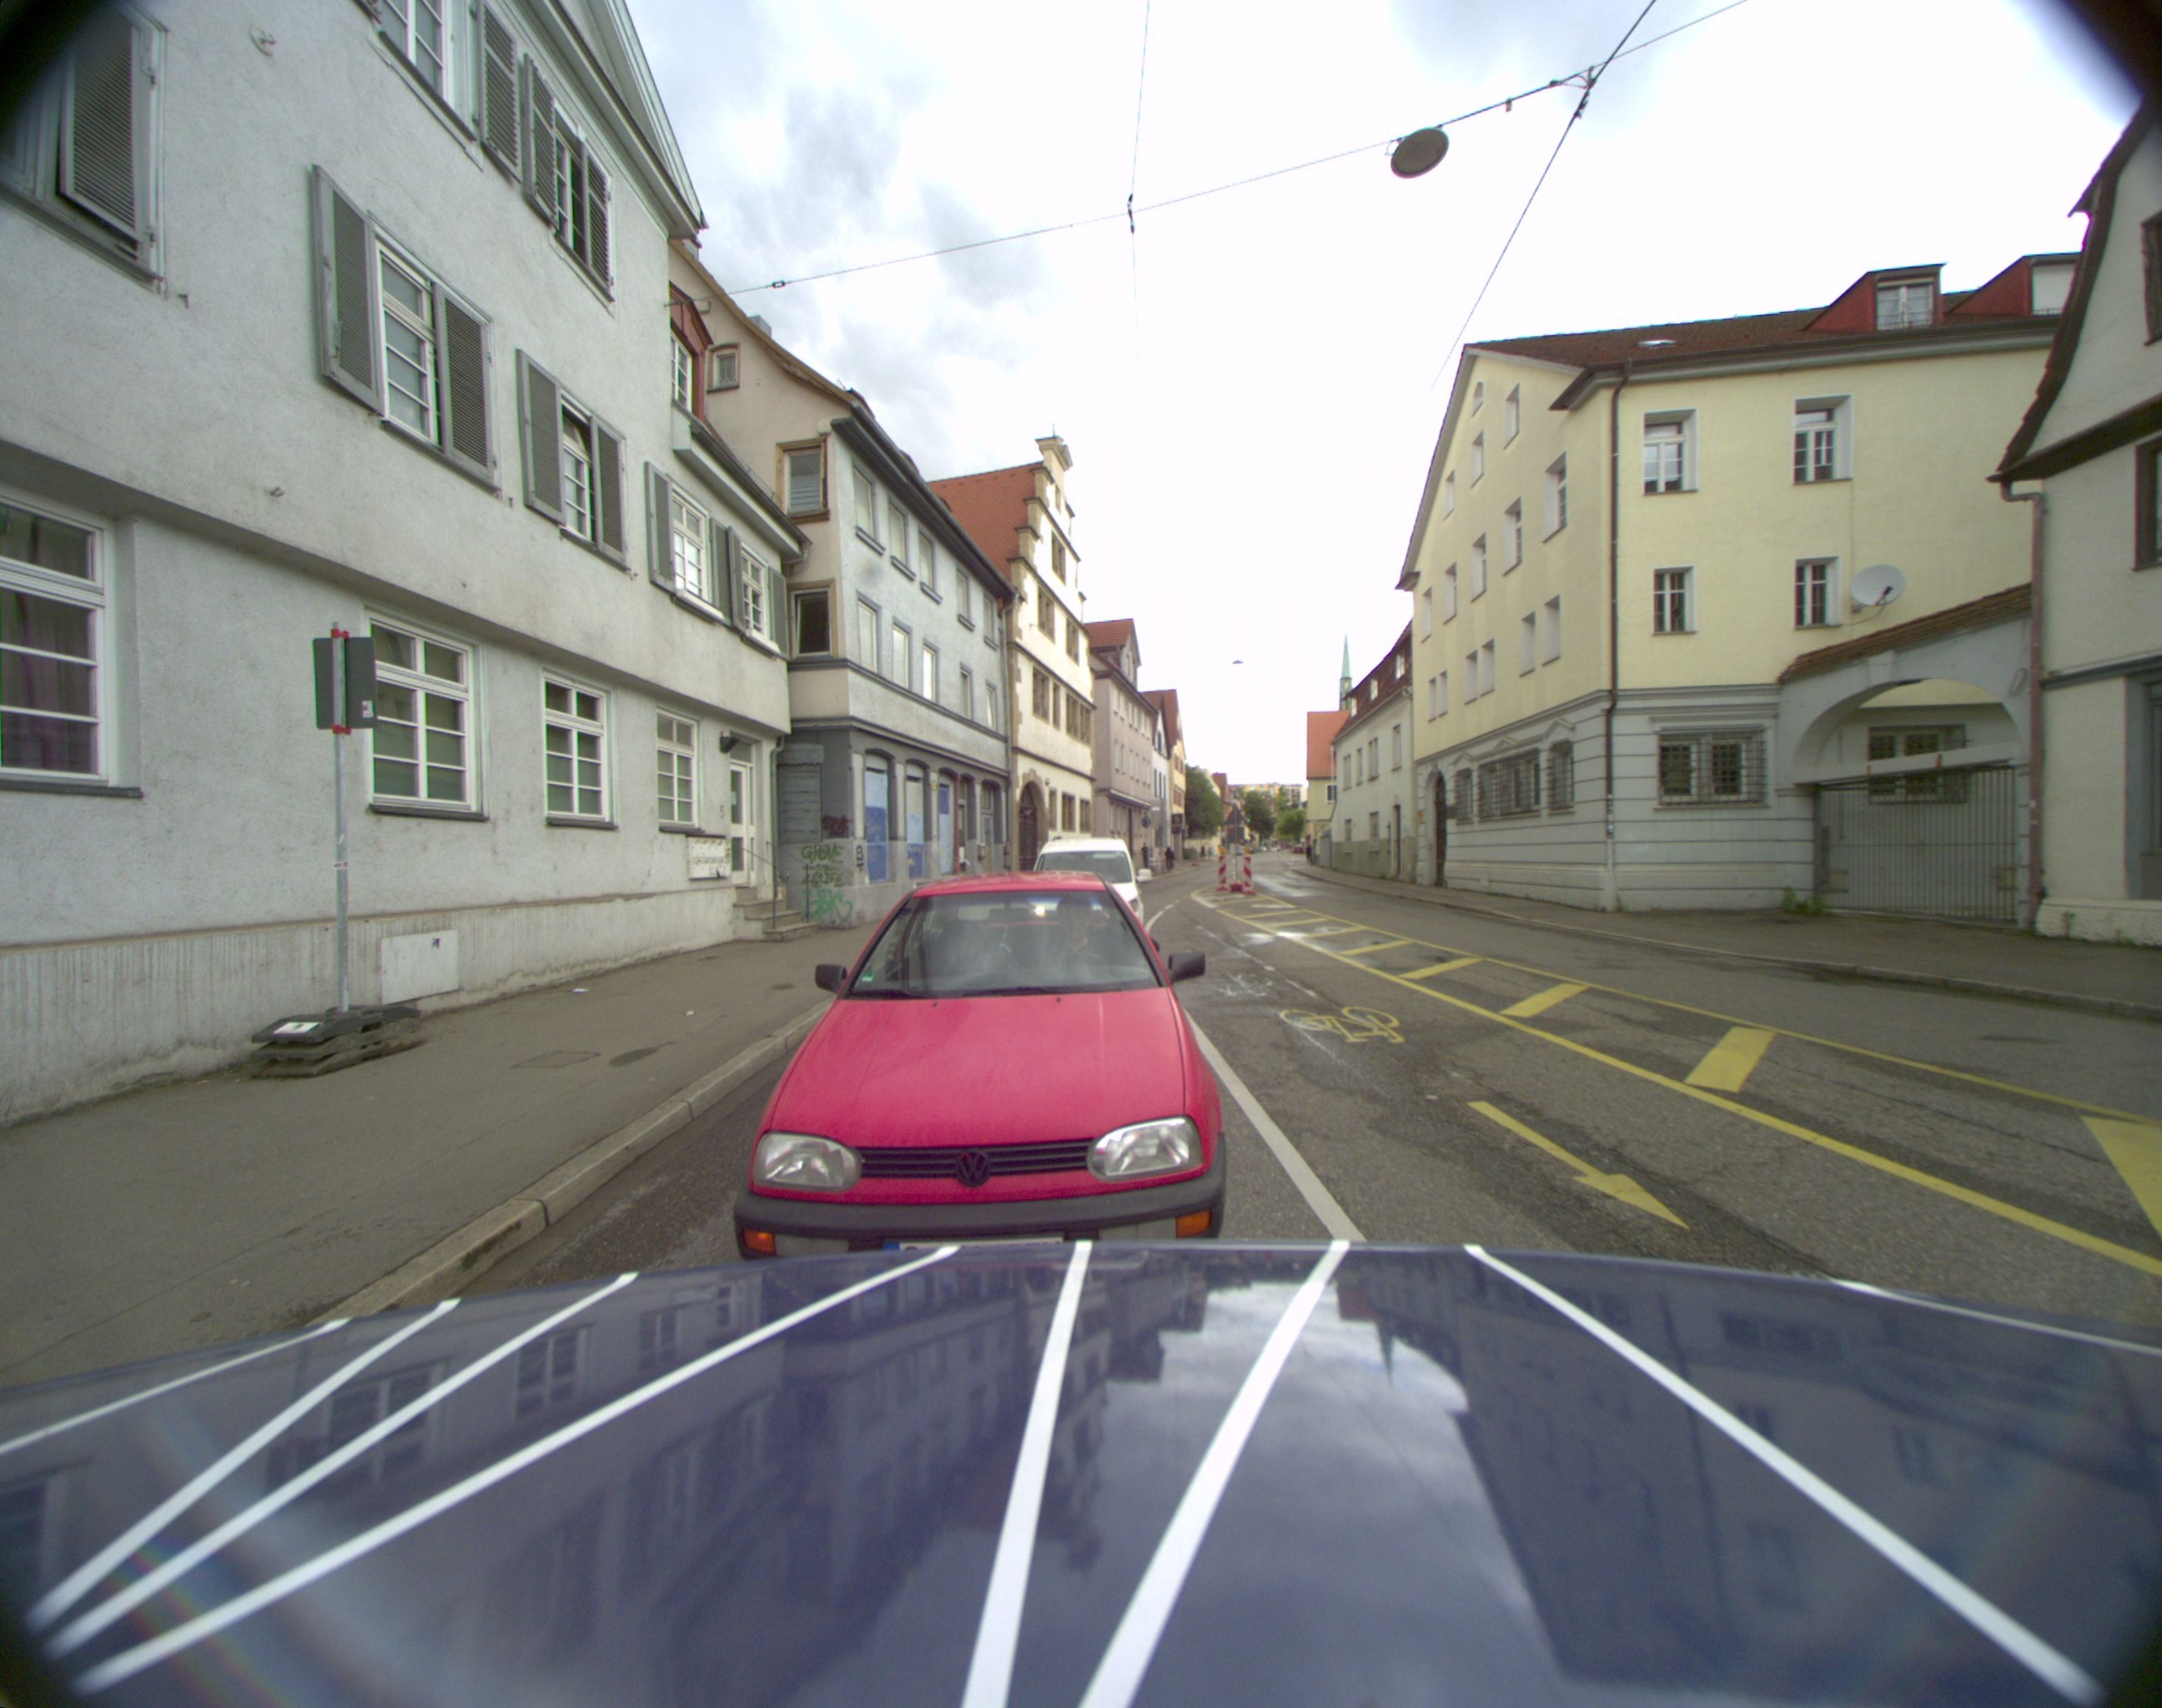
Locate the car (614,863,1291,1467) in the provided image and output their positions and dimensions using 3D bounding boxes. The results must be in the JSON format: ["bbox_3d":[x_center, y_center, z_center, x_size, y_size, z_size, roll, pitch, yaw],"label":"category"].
[{"bbox_3d":[-0.296,0.888,4.057,1.792,1.418,3.998,-1,3,1],"label":"car"}]

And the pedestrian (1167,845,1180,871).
[{"bbox_3d":[5.790,0.278,47.698,0.725,1.604,0.649,-1,0,14],"label":"pedestrian"}]

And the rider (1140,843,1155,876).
[{"bbox_3d":[3.792,0.312,43.043,0.719,1.837,0.798,-2,0,10],"label":"rider"}]

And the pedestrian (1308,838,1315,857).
[{"bbox_3d":[21.726,-0.608,71.722,0.592,1.769,0.506,0,1,20],"label":"pedestrian"}]

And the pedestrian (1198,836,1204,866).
[{"bbox_3d":[10.094,-0.219,63.925,0.495,2.513,0.746,-1,1,12],"label":"pedestrian"}]

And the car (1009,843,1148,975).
[{"bbox_3d":[0.053,0.695,12.166,1.814,1.695,4.256,-1,1,2],"label":"car"}]
